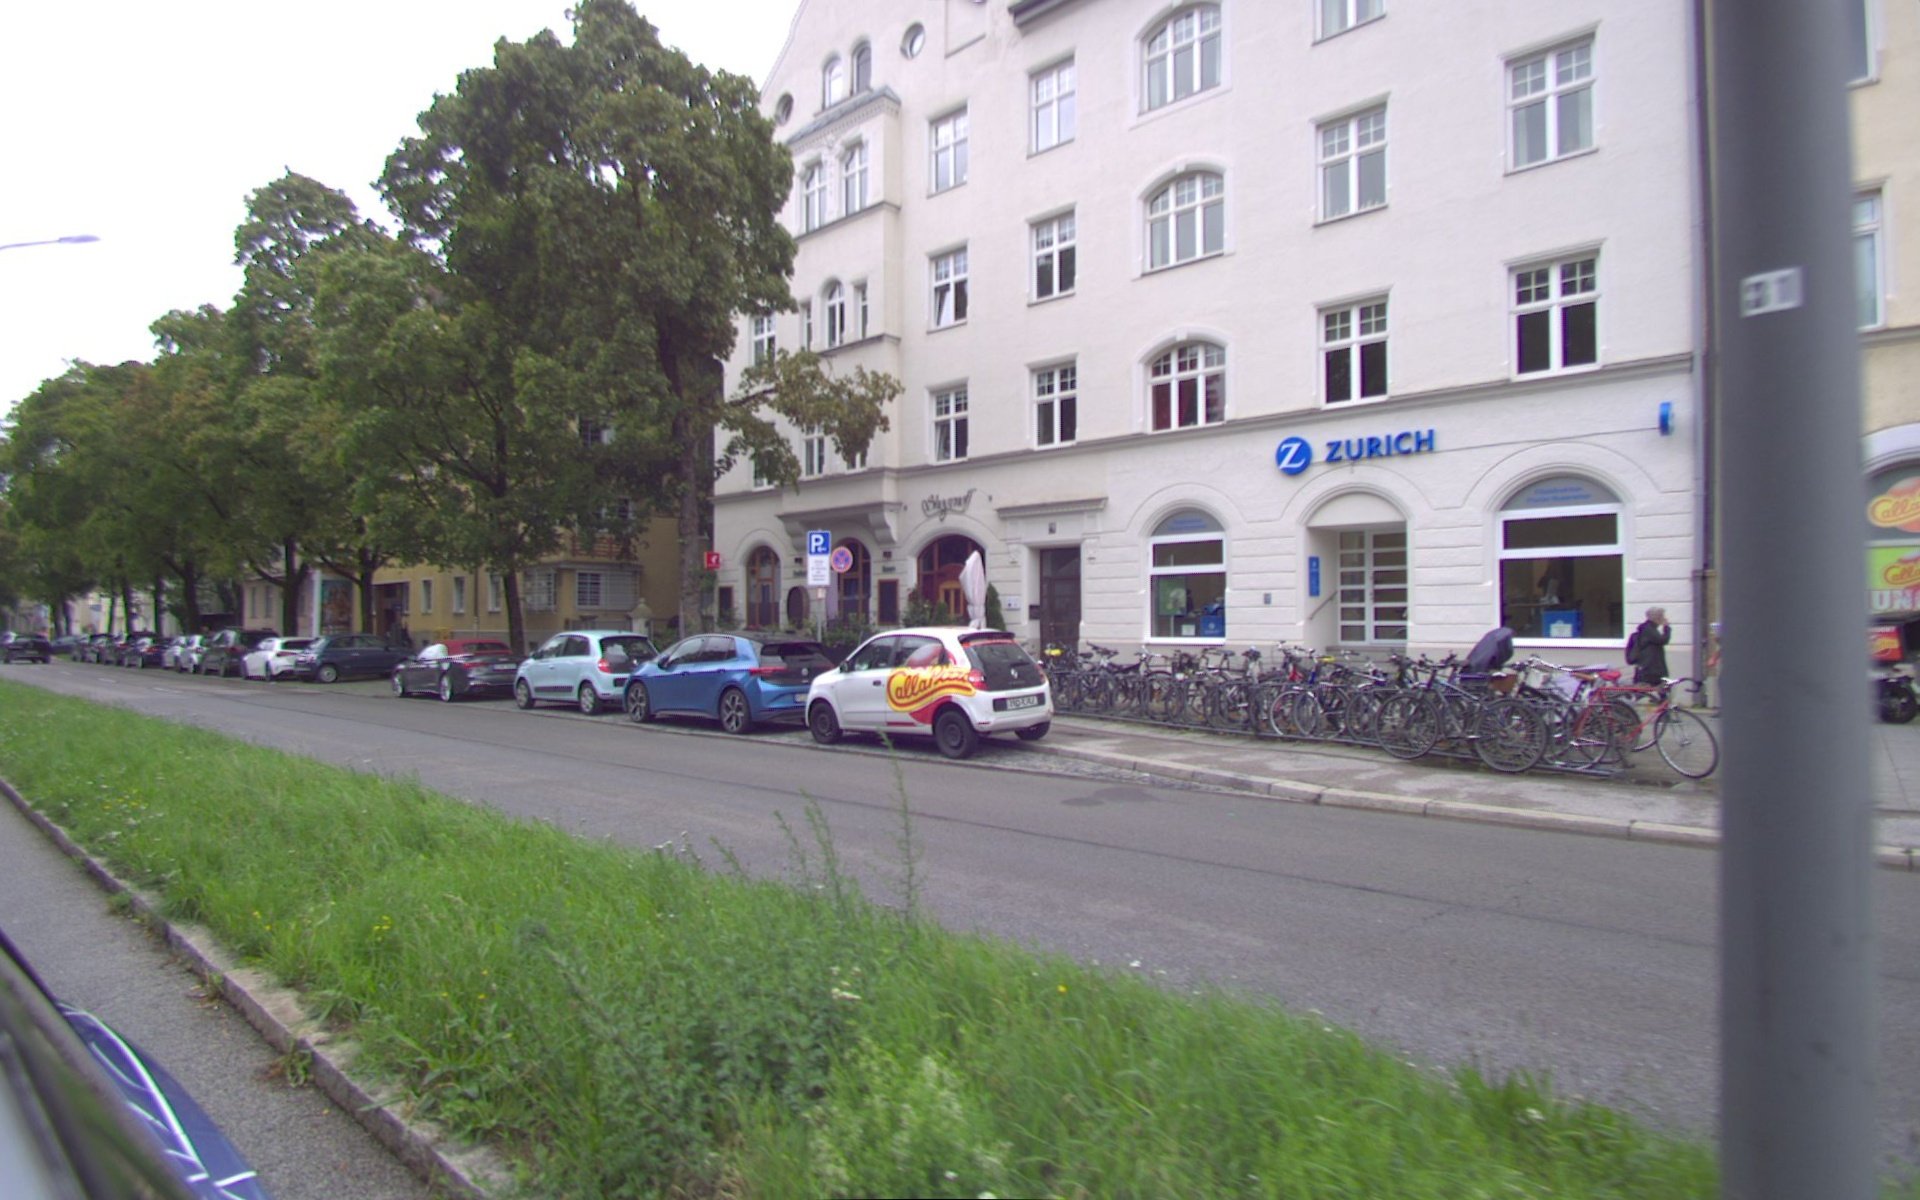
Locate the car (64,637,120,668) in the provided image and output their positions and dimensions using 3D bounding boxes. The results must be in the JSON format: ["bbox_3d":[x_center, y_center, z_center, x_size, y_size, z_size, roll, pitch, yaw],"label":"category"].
[{"bbox_3d":[-49.232,2.950,57.389,4.437,1.700,1.854,-2,-2,42],"label":"car"}]

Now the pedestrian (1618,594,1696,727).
[{"bbox_3d":[9.293,0.797,13.491,0.770,1.710,0.537,-2,-2,40],"label":"pedestrian"}]

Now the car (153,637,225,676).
[{"bbox_3d":[-32.980,2.366,43.249,4.056,1.573,1.708,-2,-2,42],"label":"car"}]

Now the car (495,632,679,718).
[{"bbox_3d":[-7.421,1.407,19.985,3.959,1.518,1.791,-2,-2,42],"label":"car"}]

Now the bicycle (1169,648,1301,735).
[{"bbox_3d":[3.691,1.217,13.628,1.667,1.124,0.328,-1,-2,19],"label":"bicycle"}]

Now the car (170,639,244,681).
[{"bbox_3d":[-29.876,2.346,40.126,3.007,1.569,1.709,-2,-2,40],"label":"car"}]

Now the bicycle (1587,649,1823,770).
[{"bbox_3d":[7.284,1.057,9.977,1.799,1.124,0.394,-1,-2,19],"label":"bicycle"}]

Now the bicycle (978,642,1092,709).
[{"bbox_3d":[1.305,1.311,17.605,1.945,1.124,0.457,-1,-2,10],"label":"bicycle"}]

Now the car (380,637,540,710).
[{"bbox_3d":[-11.801,1.655,23.769,4.644,1.518,1.791,-2,-2,42],"label":"car"}]

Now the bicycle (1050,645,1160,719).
[{"bbox_3d":[2.271,1.276,15.888,1.665,1.124,0.329,-1,-2,14],"label":"bicycle"}]

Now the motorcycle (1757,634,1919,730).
[{"bbox_3d":[11.848,1.043,13.529,0.600,1.139,1.991,0,-1,-8],"label":"motorcycle"}]

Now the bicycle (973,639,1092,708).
[{"bbox_3d":[1.232,1.245,17.174,1.967,1.124,0.503,-1,-2,10],"label":"bicycle"}]

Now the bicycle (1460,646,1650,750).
[{"bbox_3d":[6.761,1.101,11.582,1.799,1.124,0.394,-1,-2,19],"label":"bicycle"}]

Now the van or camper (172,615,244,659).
[{"bbox_3d":[-47.504,2.340,63.866,6.849,2.599,2.321,-2,-2,42],"label":"van or camper"}]

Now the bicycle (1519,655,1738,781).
[{"bbox_3d":[6.274,1.094,9.572,1.667,1.124,0.328,-1,-2,19],"label":"bicycle"}]

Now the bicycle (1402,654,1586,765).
[{"bbox_3d":[5.619,1.140,10.724,1.667,1.124,0.328,-1,-2,19],"label":"bicycle"}]

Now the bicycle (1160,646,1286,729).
[{"bbox_3d":[3.649,1.204,14.083,1.667,1.124,0.328,-1,-2,19],"label":"bicycle"}]

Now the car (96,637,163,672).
[{"bbox_3d":[-41.041,2.658,49.964,4.769,1.658,1.859,-2,-2,42],"label":"car"}]

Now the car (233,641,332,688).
[{"bbox_3d":[-22.345,2.086,33.317,4.402,1.413,1.708,-2,-2,42],"label":"car"}]

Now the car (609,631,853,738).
[{"bbox_3d":[-3.879,1.301,16.702,4.289,1.518,1.791,-2,-2,42],"label":"car"}]

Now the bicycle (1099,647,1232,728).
[{"bbox_3d":[2.979,1.260,14.748,1.860,1.124,0.328,-1,-2,19],"label":"bicycle"}]

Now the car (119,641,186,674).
[{"bbox_3d":[-36.778,2.592,46.055,4.362,1.416,1.708,-2,-2,42],"label":"car"}]

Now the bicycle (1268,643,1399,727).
[{"bbox_3d":[5.169,1.169,14.068,1.667,1.124,0.328,-1,-2,19],"label":"bicycle"}]

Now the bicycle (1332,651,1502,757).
[{"bbox_3d":[5.078,1.146,11.332,1.667,1.124,0.365,-1,-2,19],"label":"bicycle"}]

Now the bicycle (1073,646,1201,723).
[{"bbox_3d":[2.666,1.267,15.271,1.860,1.124,0.328,-1,-2,19],"label":"bicycle"}]

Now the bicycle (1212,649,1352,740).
[{"bbox_3d":[4.117,1.197,12.990,1.667,1.124,0.328,-1,-2,19],"label":"bicycle"}]

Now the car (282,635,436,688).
[{"bbox_3d":[-18.939,1.901,31.999,1.731,1.475,3.850,-2,-1,40],"label":"car"}]

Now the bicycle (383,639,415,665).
[{"bbox_3d":[-26.753,2.461,48.231,1.930,1.231,0.761,-2,-2,42],"label":"bicycle"}]

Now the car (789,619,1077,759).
[{"bbox_3d":[-0.466,1.074,13.480,3.790,1.597,1.631,-2,-2,44],"label":"car"}]

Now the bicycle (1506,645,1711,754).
[{"bbox_3d":[7.011,1.062,11.024,1.799,1.124,0.394,-1,-2,19],"label":"bicycle"}]

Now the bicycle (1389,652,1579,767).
[{"bbox_3d":[5.345,1.104,10.404,1.667,1.124,0.366,-1,-2,19],"label":"bicycle"}]

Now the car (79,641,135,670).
[{"bbox_3d":[-45.423,2.906,53.866,4.491,1.465,1.674,-2,-2,42],"label":"car"}]

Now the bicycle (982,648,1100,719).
[{"bbox_3d":[1.330,1.354,16.537,1.860,1.124,0.548,-1,-2,10],"label":"bicycle"}]

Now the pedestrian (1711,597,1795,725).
[{"bbox_3d":[10.563,0.800,13.488,0.416,1.644,0.784,1,-2,-42],"label":"pedestrian"}]

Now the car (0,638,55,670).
[{"bbox_3d":[-48.739,2.789,52.759,4.620,1.597,1.854,-2,-5,43],"label":"car"}]

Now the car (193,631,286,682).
[{"bbox_3d":[-26.499,2.029,37.166,4.766,1.741,1.791,-2,-2,42],"label":"car"}]

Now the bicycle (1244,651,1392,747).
[{"bbox_3d":[4.362,1.196,12.416,1.667,1.124,0.380,-1,-2,19],"label":"bicycle"}]

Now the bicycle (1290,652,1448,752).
[{"bbox_3d":[4.770,1.184,11.889,1.667,1.124,0.328,-1,-2,19],"label":"bicycle"}]
